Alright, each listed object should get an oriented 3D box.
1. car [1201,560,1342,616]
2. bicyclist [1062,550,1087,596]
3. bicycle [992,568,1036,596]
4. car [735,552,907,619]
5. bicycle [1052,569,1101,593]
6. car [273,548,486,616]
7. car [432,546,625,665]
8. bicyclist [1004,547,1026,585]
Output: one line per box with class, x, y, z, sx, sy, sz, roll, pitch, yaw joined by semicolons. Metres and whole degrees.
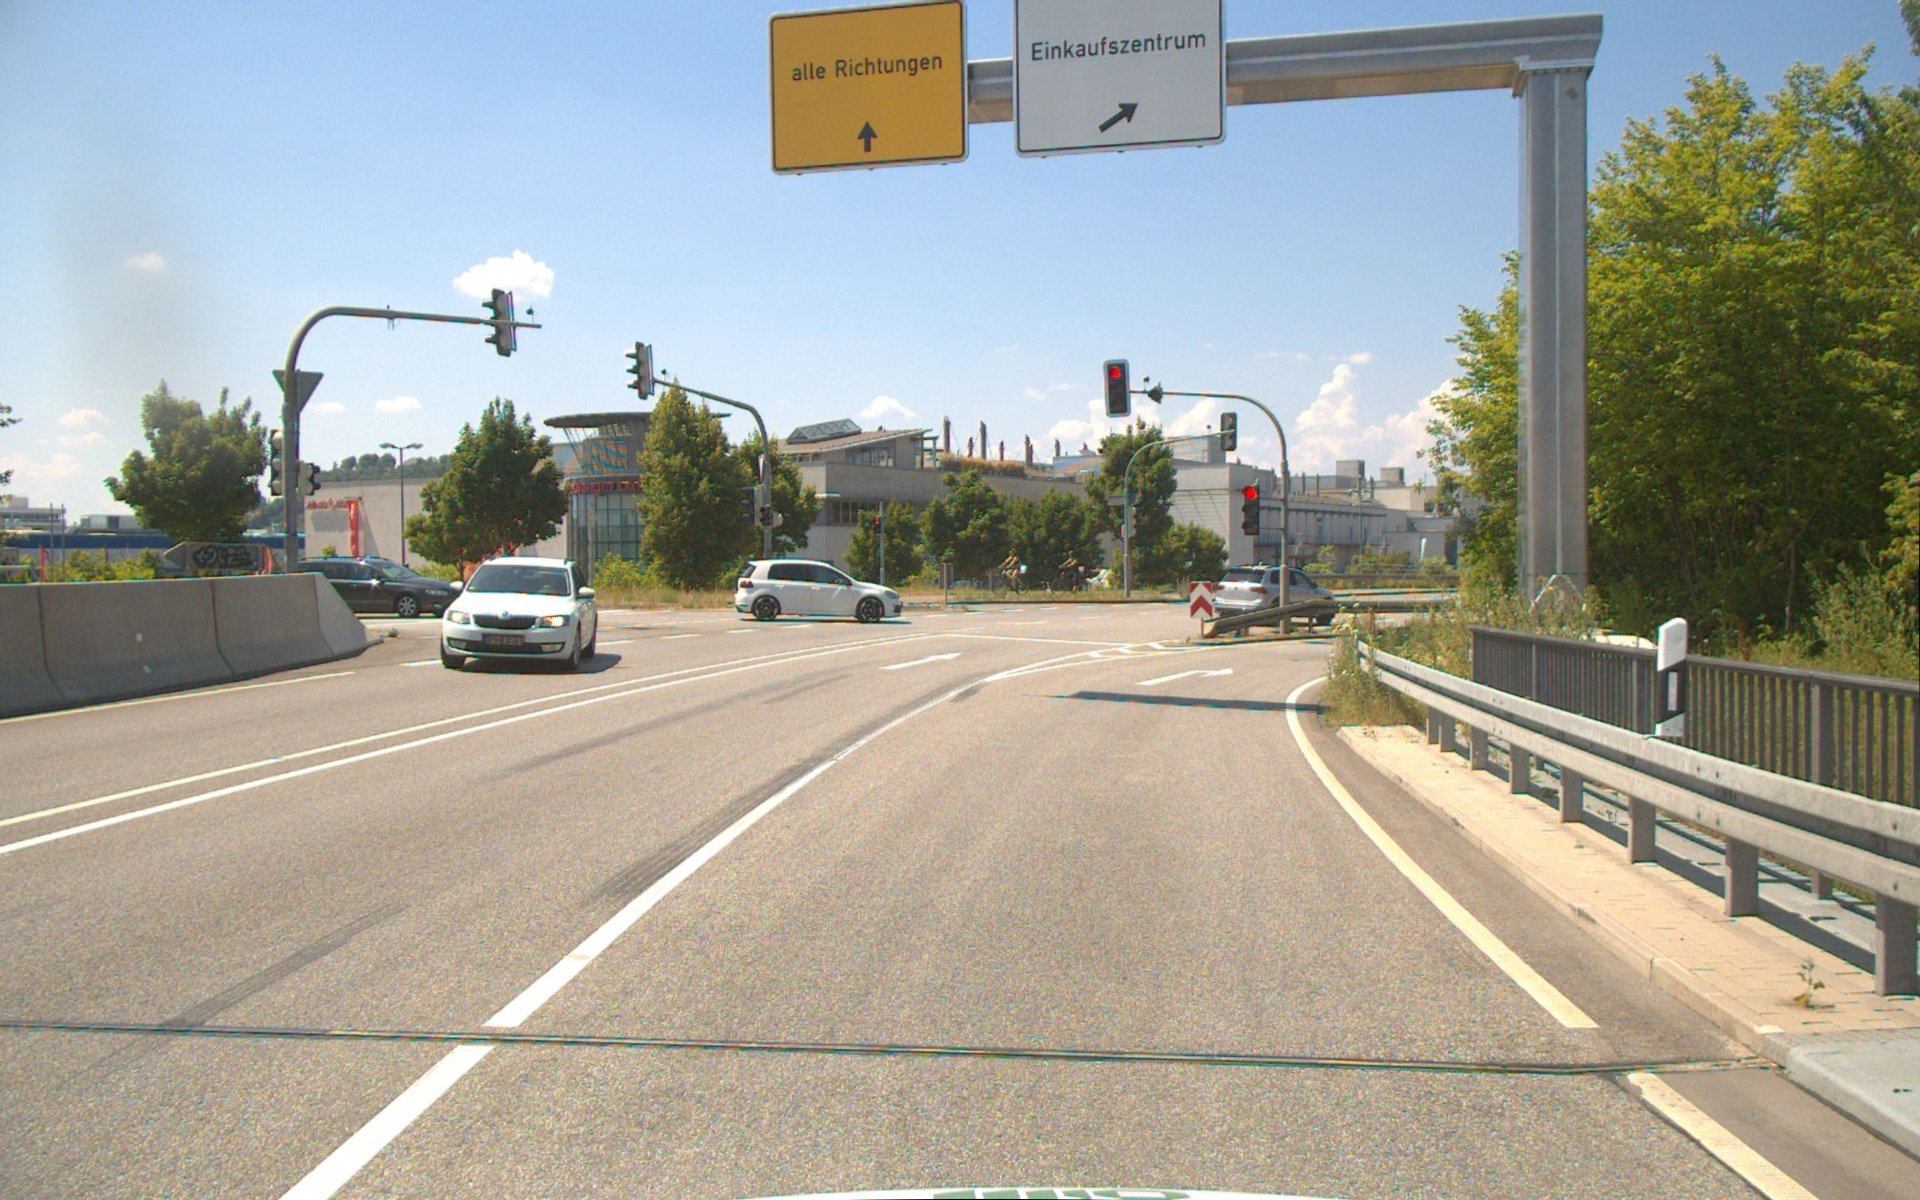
car;8.976;-0.341;47.485;1.966;1.531;4.367;0;0;43
bicyclist;4.413;-1.045;63.826;0.724;1.747;0.524;1;2;-40
bicycle;2.067;-0.678;63.381;1.813;1.042;0.409;0;3;-38
car;-3.476;-0.365;40.914;4.047;1.512;1.995;1;1;-11
bicycle;4.510;-0.738;63.929;2.108;0.867;0.527;0;3;-42
car;-14.272;-0.445;40.850;4.622;1.572;1.737;1;1;-1
car;-6.010;0.022;23.549;1.751;1.521;4.549;0;1;-3
bicyclist;2.098;-1.290;63.376;0.677;1.428;0.403;1;2;-37
